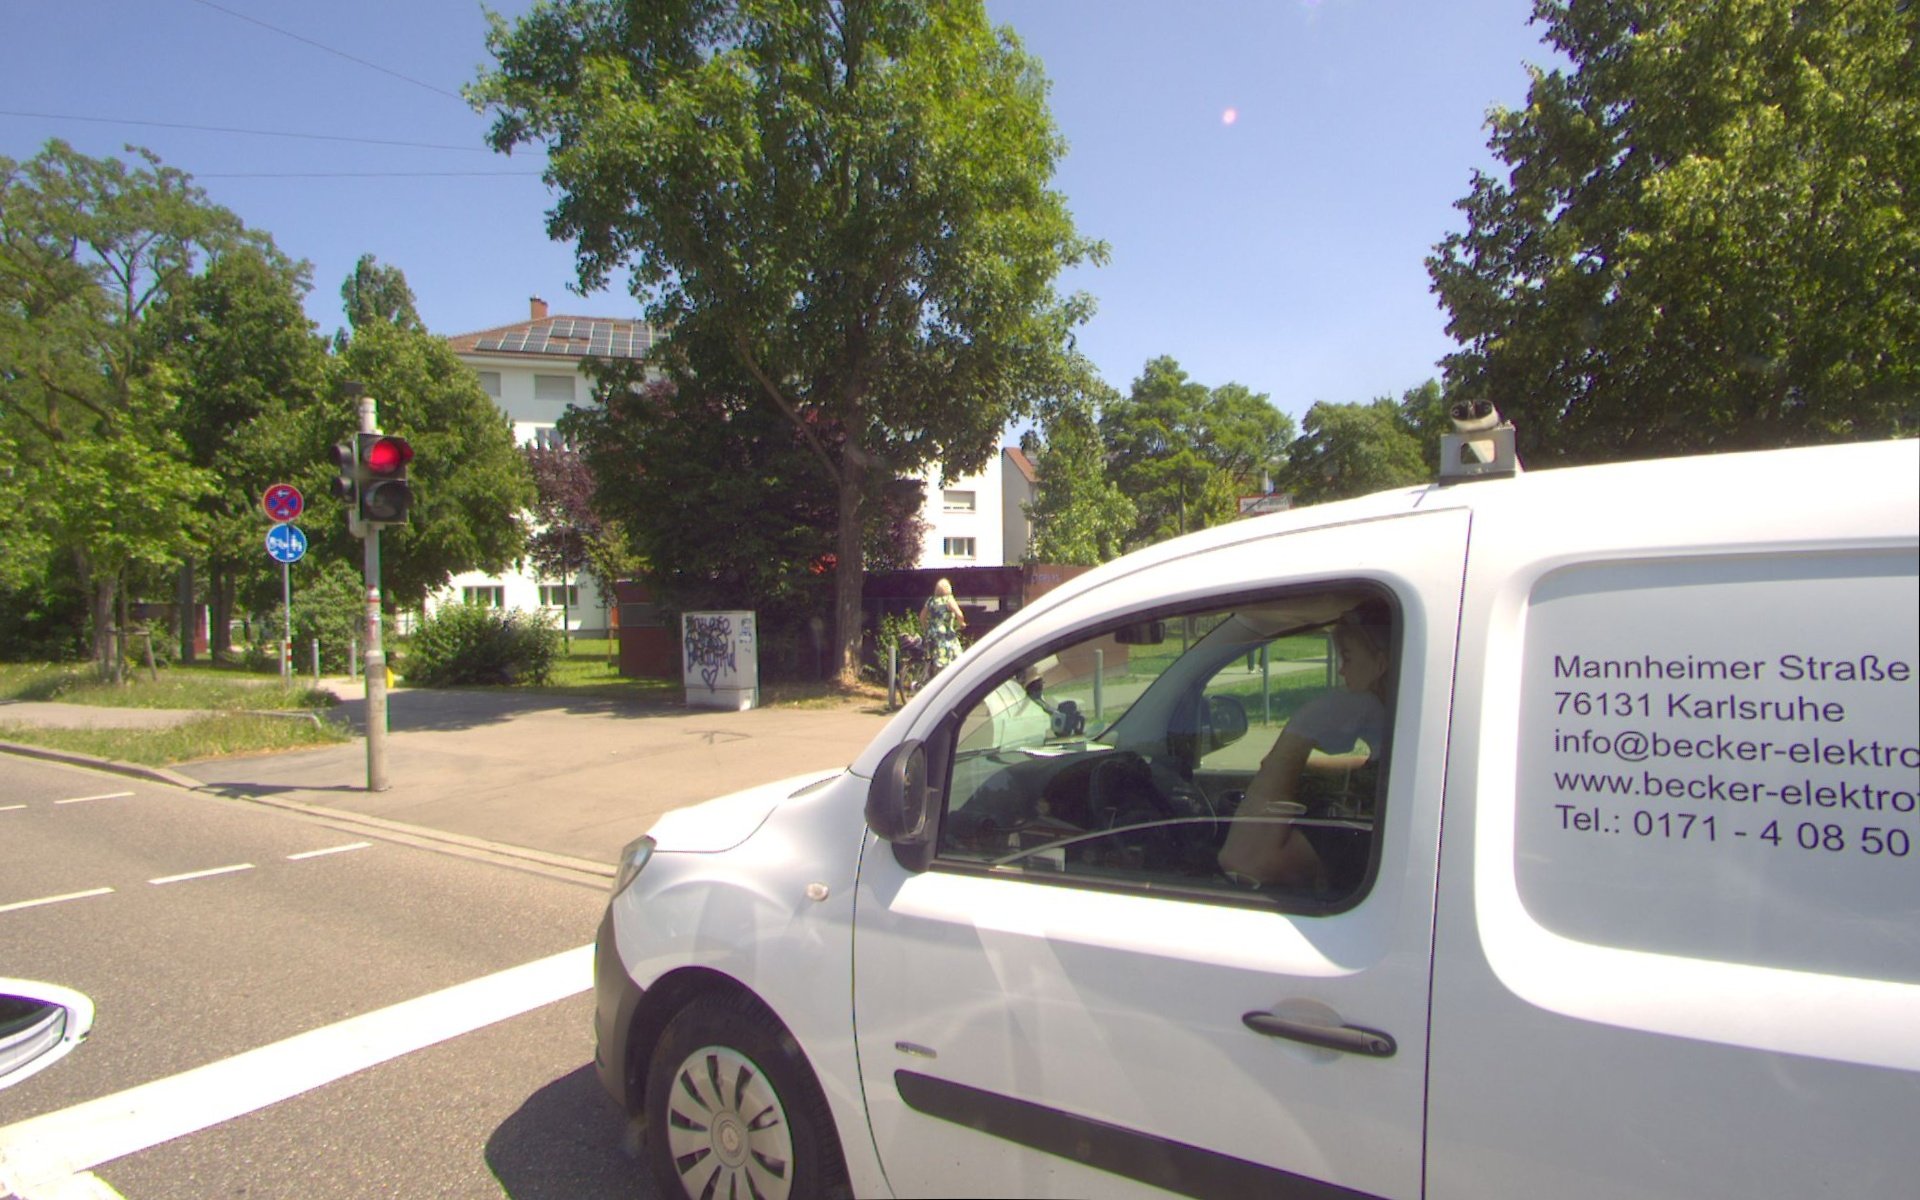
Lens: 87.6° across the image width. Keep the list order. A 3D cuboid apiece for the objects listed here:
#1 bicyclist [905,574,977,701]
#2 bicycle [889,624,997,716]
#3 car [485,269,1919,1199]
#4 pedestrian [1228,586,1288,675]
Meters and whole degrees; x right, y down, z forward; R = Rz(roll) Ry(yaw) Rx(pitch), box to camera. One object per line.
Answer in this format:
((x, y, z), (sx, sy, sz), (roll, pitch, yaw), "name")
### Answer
((-0.262, 0.512, 13.957), (0.572, 1.689, 0.955), (0, 0, 32), "bicyclist")
((-0.202, 0.937, 14.045), (0.533, 1.176, 1.954), (0, -1, 32), "bicycle")
((1.126, 0.565, 2.307), (4.384, 1.850, 1.990), (-1, 0, 32), "car")
((6.306, 0.632, 21.151), (0.829, 1.801, 1.180), (-2, 1, 36), "pedestrian")
